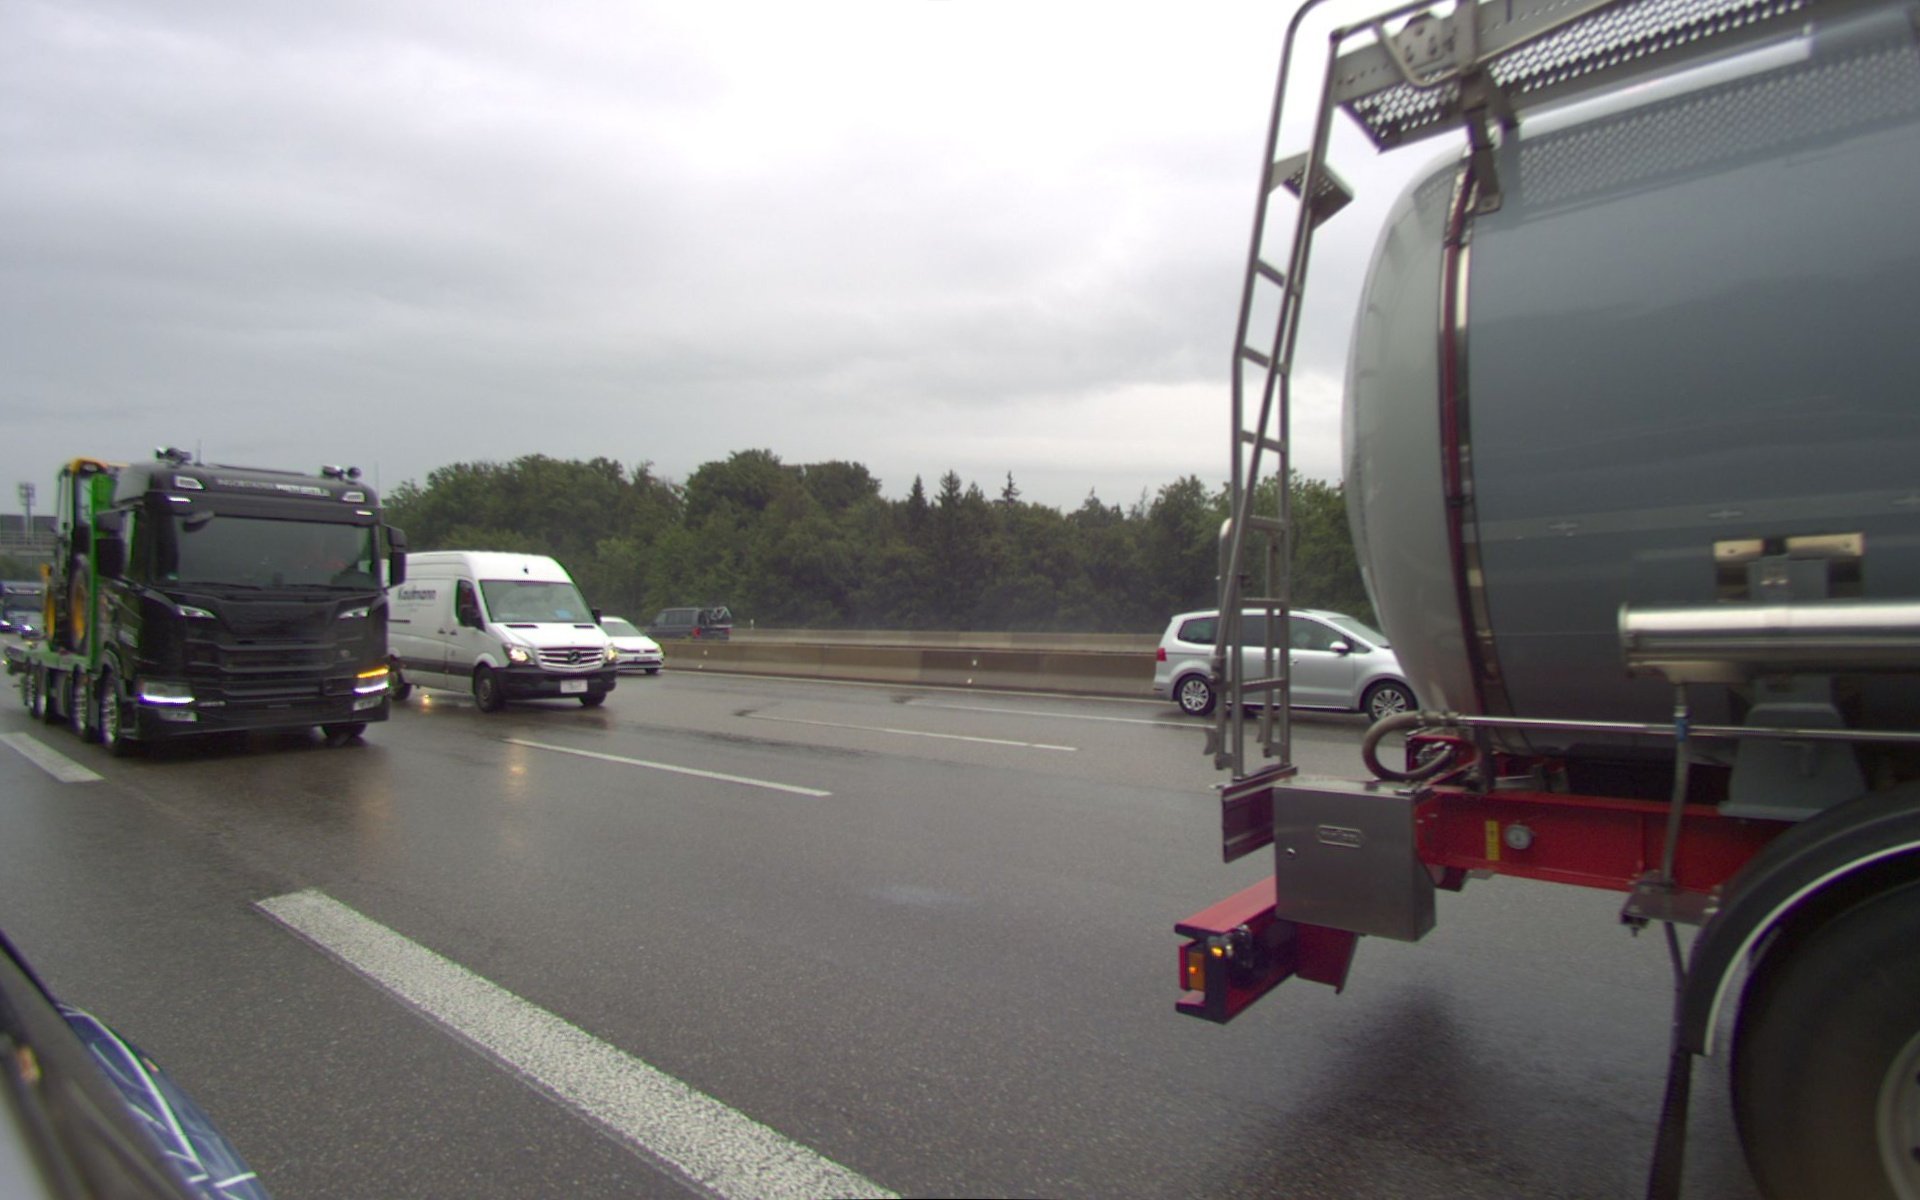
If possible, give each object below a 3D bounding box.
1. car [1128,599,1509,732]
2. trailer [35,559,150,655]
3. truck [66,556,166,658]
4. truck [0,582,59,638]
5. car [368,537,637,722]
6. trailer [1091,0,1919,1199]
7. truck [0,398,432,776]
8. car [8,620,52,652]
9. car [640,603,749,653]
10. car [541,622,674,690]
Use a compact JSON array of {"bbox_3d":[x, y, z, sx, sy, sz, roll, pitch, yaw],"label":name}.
[{"bbox_3d":[5.248,0.901,15.326,5.079,1.696,1.973,-1,-2,41],"label":"car"},{"bbox_3d":[-40.444,0.359,46.955,13.677,3.893,2.598,-1,-1,43],"label":"trailer"},{"bbox_3d":[-34.536,0.289,41.369,4.589,3.893,2.598,-1,-1,43],"label":"truck"},{"bbox_3d":[-75.925,0.648,82.319,3.308,4.100,12.584,-4,4,-44],"label":"truck"},{"bbox_3d":[-8.020,0.442,17.377,5.845,2.649,2.191,0,-1,44],"label":"car"},{"bbox_3d":[5.134,-0.345,0.694,10.069,3.314,2.844,-1,-1,40],"label":"trailer"},{"bbox_3d":[-11.438,-0.044,14.706,11.796,3.616,2.800,-1,-2,42],"label":"truck"},{"bbox_3d":[-59.725,2.273,64.975,4.001,1.785,1.739,1,4,43],"label":"car"},{"bbox_3d":[-11.789,1.167,44.775,5.245,1.892,2.031,1,4,41],"label":"car"},{"bbox_3d":[-9.883,1.497,28.241,3.998,1.769,1.755,-1,-2,41],"label":"car"}]
